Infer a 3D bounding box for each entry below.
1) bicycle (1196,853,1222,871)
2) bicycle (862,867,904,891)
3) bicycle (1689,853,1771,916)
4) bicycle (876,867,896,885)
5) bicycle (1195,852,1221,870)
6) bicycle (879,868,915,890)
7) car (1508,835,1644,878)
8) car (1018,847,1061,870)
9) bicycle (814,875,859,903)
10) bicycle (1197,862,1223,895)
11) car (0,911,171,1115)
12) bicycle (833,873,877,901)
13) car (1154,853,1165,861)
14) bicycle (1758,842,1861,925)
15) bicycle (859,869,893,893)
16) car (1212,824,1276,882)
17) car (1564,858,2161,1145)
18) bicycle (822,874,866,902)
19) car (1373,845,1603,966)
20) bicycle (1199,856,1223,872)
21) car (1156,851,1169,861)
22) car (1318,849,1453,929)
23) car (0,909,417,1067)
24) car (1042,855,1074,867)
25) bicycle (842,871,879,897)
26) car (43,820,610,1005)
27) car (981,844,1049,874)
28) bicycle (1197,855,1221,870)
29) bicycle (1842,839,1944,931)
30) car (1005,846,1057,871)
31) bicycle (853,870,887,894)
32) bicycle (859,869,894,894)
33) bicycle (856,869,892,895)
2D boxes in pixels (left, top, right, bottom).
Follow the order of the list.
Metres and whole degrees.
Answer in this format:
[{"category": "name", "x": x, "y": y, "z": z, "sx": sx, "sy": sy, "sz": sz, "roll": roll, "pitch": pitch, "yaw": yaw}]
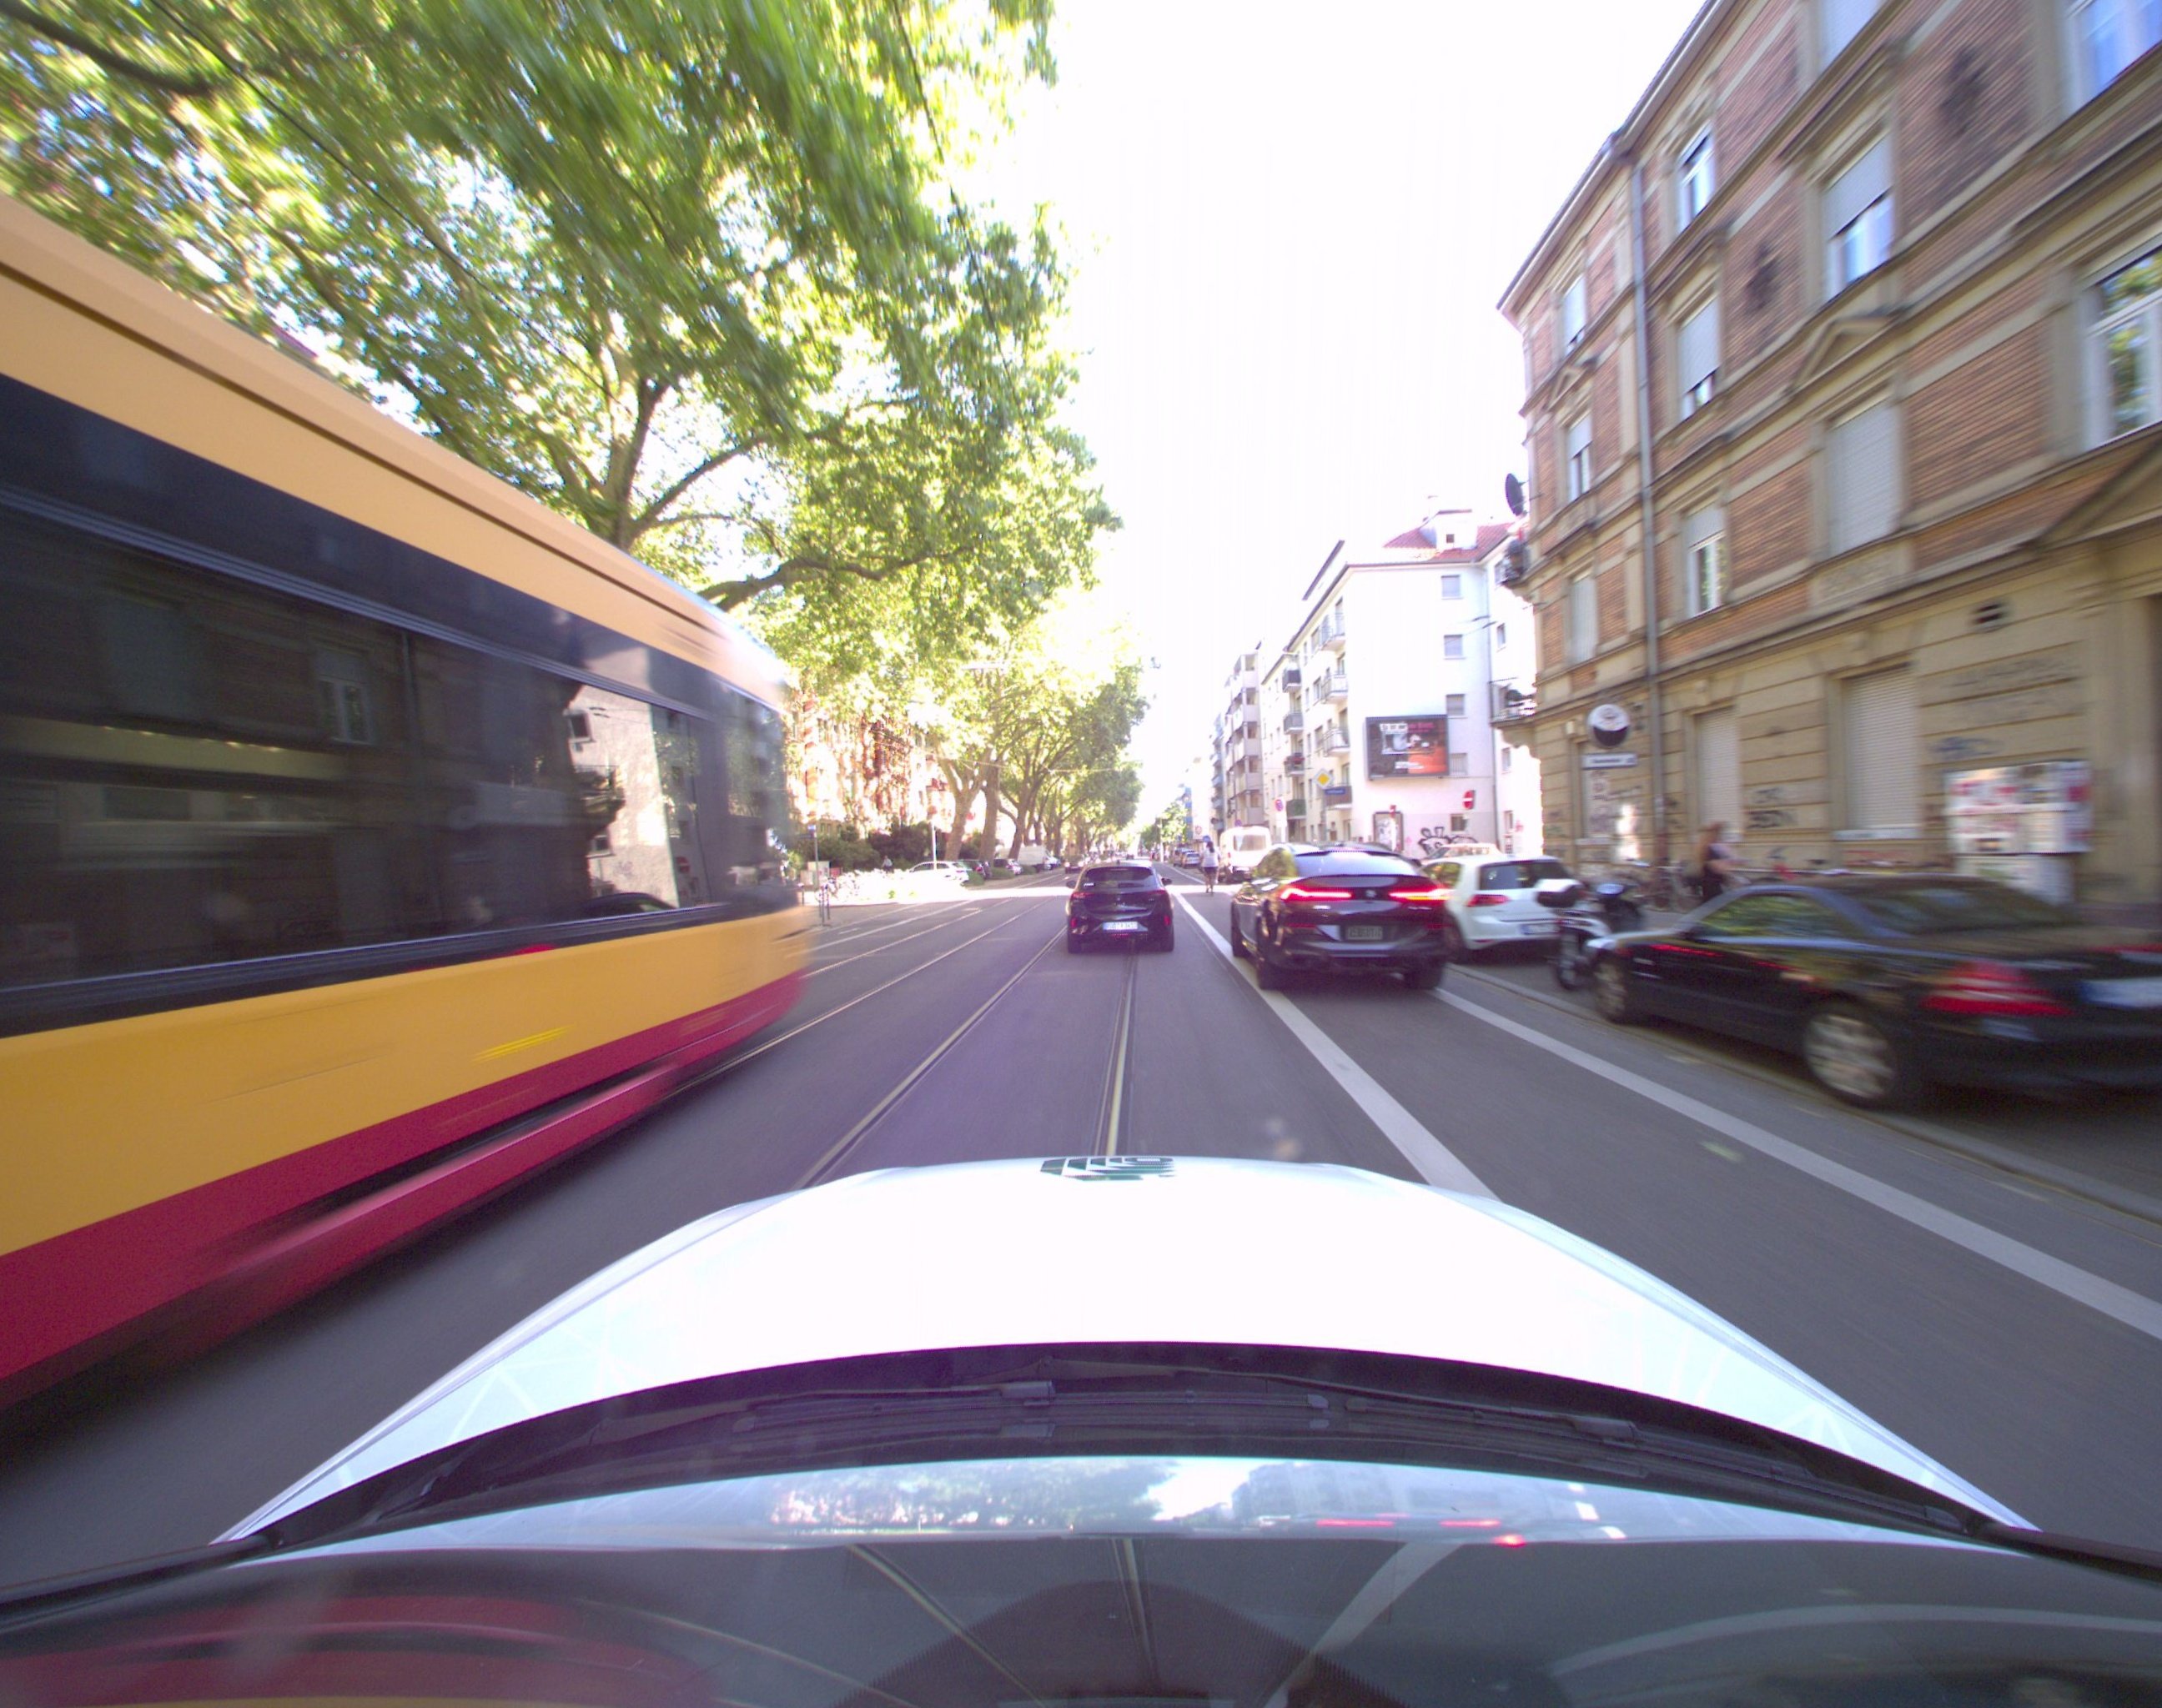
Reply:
[{"category": "bicycle", "x": 9.410, "y": 0.595, "z": 59.973, "sx": 1.786, "sy": 1.148, "sz": 0.705, "roll": -4, "pitch": 0, "yaw": 3}, {"category": "bicycle", "x": -9.538, "y": 1.225, "z": 39.224, "sx": 1.902, "sy": 1.088, "sz": 0.600, "roll": -2, "pitch": 0, "yaw": 21}, {"category": "bicycle", "x": 10.954, "y": 0.495, "z": 13.785, "sx": 0.376, "sy": 1.001, "sz": 1.375, "roll": -2, "pitch": 0, "yaw": 6}, {"category": "bicycle", "x": -13.408, "y": 1.485, "z": 56.042, "sx": 0.739, "sy": 1.138, "sz": 1.782, "roll": -2, "pitch": 0, "yaw": 4}, {"category": "bicycle", "x": 9.615, "y": 0.536, "z": 61.684, "sx": 1.815, "sy": 1.191, "sz": 0.457, "roll": -4, "pitch": 0, "yaw": 3}, {"category": "bicycle", "x": -9.133, "y": 1.257, "z": 40.425, "sx": 1.783, "sy": 1.043, "sz": 0.601, "roll": -2, "pitch": 0, "yaw": 31}, {"category": "car", "x": 18.703, "y": 0.107, "z": 30.890, "sx": 4.006, "sy": 1.455, "sz": 1.792, "roll": -2, "pitch": 0, "yaw": 4}, {"category": "car", "x": -4.918, "y": 0.534, "z": 97.004, "sx": 4.927, "sy": 2.567, "sz": 2.082, "roll": -2, "pitch": 0, "yaw": 0}, {"category": "bicycle", "x": -9.865, "y": 1.413, "z": 32.835, "sx": 1.840, "sy": 1.088, "sz": 0.398, "roll": -2, "pitch": 0, "yaw": 21}, {"category": "bicycle", "x": 4.514, "y": 0.839, "z": 28.523, "sx": 0.698, "sy": 1.092, "sz": 1.992, "roll": 0, "pitch": -1, "yaw": 3}, {"category": "car", "x": -10.559, "y": 1.248, "z": 6.367, "sx": 4.907, "sy": 1.445, "sz": 2.003, "roll": 0, "pitch": 1, "yaw": 5}, {"category": "bicycle", "x": -9.414, "y": 1.380, "z": 33.905, "sx": 1.840, "sy": 1.088, "sz": 0.398, "roll": -2, "pitch": 0, "yaw": 21}, {"category": "car", "x": 13.925, "y": 0.518, "z": 144.751, "sx": 1.711, "sy": 1.490, "sz": 3.684, "roll": -2, "pitch": 0, "yaw": 2}, {"category": "bicycle", "x": 10.822, "y": 0.412, "z": 12.140, "sx": 0.376, "sy": 1.154, "sz": 1.375, "roll": -2, "pitch": 0, "yaw": 6}, {"category": "bicycle", "x": -9.570, "y": 1.262, "z": 37.993, "sx": 1.544, "sy": 1.088, "sz": 0.398, "roll": -2, "pitch": 0, "yaw": 21}, {"category": "car", "x": 7.669, "y": -0.042, "z": 39.019, "sx": 2.140, "sy": 2.495, "sz": 6.094, "roll": -2, "pitch": 0, "yaw": 3}, {"category": "car", "x": 5.304, "y": 0.727, "z": 5.780, "sx": 1.642, "sy": 1.272, "sz": 3.728, "roll": -4, "pitch": 0, "yaw": 3}, {"category": "bicycle", "x": -9.693, "y": 1.392, "z": 33.259, "sx": 1.840, "sy": 1.088, "sz": 0.398, "roll": -2, "pitch": 0, "yaw": 21}, {"category": "car", "x": 5.810, "y": 0.654, "z": 12.198, "sx": 1.595, "sy": 1.420, "sz": 4.017, "roll": -4, "pitch": 0, "yaw": 4}, {"category": "bicycle", "x": 9.272, "y": 0.720, "z": 58.095, "sx": 1.645, "sy": 1.055, "sz": 0.457, "roll": -4, "pitch": 0, "yaw": 3}, {"category": "car", "x": 13.855, "y": 0.283, "z": 138.943, "sx": 1.712, "sy": 1.574, "sz": 4.084, "roll": -2, "pitch": 0, "yaw": 0}, {"category": "car", "x": 6.419, "y": 0.682, "z": 17.618, "sx": 1.641, "sy": 1.420, "sz": 4.066, "roll": -4, "pitch": 0, "yaw": 5}, {"category": "car", "x": -10.442, "y": 1.441, "z": 9.316, "sx": 4.128, "sy": 1.497, "sz": 1.905, "roll": 0, "pitch": -1, "yaw": 2}, {"category": "car", "x": -3.044, "y": 0.906, "z": 108.037, "sx": 3.971, "sy": 1.522, "sz": 1.772, "roll": -2, "pitch": 0, "yaw": 2}, {"category": "bicycle", "x": -9.515, "y": 1.291, "z": 35.133, "sx": 1.544, "sy": 1.088, "sz": 0.398, "roll": -2, "pitch": 0, "yaw": 21}, {"category": "car", "x": -10.646, "y": 0.768, "z": 11.794, "sx": 6.572, "sy": 2.407, "sz": 2.002, "roll": 0, "pitch": 0, "yaw": 4}, {"category": "car", "x": -5.920, "y": 0.433, "z": 73.575, "sx": 5.715, "sy": 2.536, "sz": 2.165, "roll": -2, "pitch": 0, "yaw": 4}, {"category": "bicycle", "x": 9.598, "y": 0.653, "z": 61.160, "sx": 1.645, "sy": 0.966, "sz": 0.457, "roll": -4, "pitch": 0, "yaw": 3}, {"category": "bicycle", "x": 10.771, "y": 0.394, "z": 10.843, "sx": 0.272, "sy": 1.154, "sz": 1.141, "roll": -2, "pitch": 0, "yaw": 6}, {"category": "car", "x": -5.397, "y": 0.519, "z": 88.188, "sx": 5.336, "sy": 2.477, "sz": 2.059, "roll": -2, "pitch": 0, "yaw": 4}, {"category": "bicycle", "x": -9.724, "y": 1.290, "z": 37.519, "sx": 1.544, "sy": 1.088, "sz": 0.398, "roll": -2, "pitch": 0, "yaw": 21}, {"category": "bicycle", "x": -9.184, "y": 1.225, "z": 36.507, "sx": 1.544, "sy": 1.088, "sz": 0.398, "roll": -2, "pitch": 0, "yaw": 21}, {"category": "bicycle", "x": -9.155, "y": 1.228, "z": 35.973, "sx": 1.544, "sy": 1.088, "sz": 0.398, "roll": -2, "pitch": 0, "yaw": 21}]
